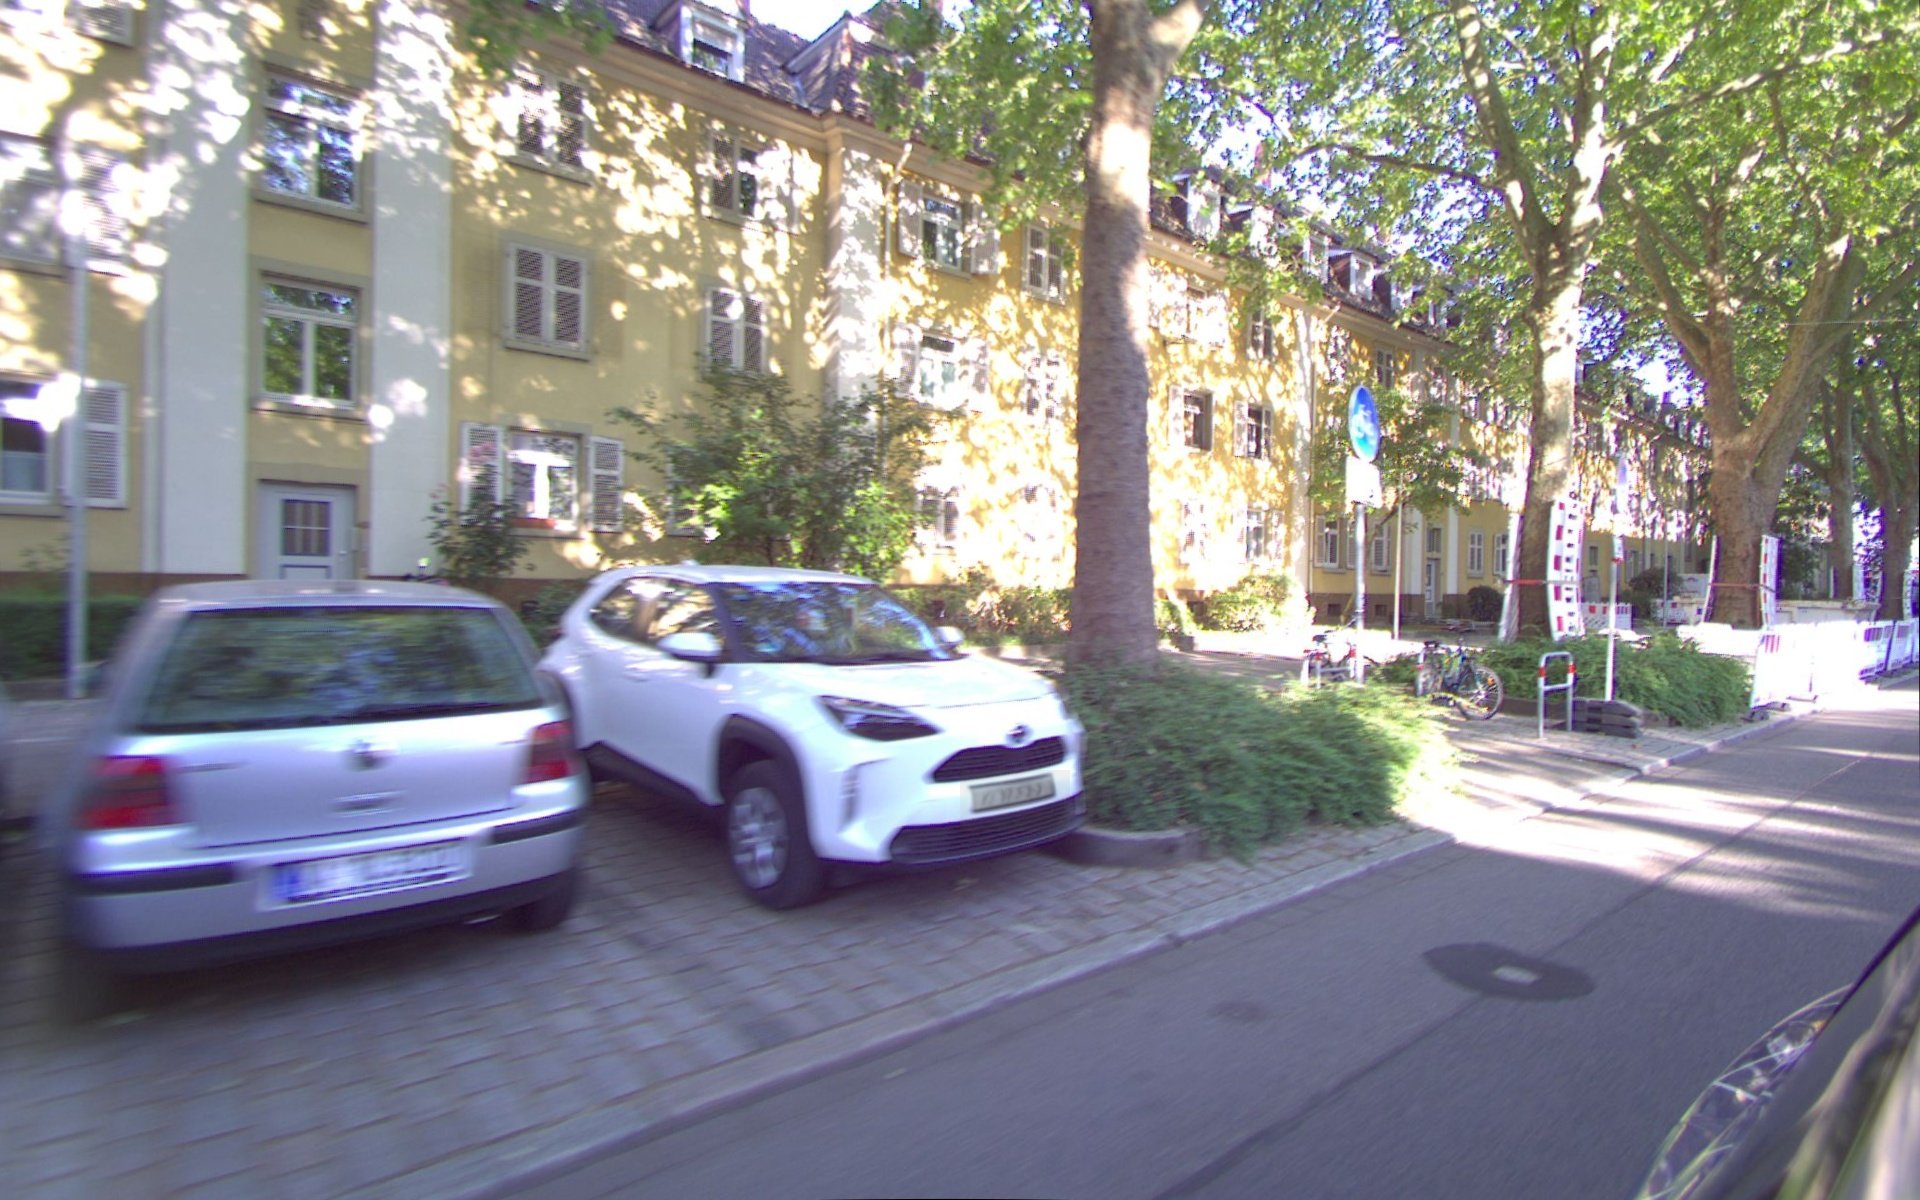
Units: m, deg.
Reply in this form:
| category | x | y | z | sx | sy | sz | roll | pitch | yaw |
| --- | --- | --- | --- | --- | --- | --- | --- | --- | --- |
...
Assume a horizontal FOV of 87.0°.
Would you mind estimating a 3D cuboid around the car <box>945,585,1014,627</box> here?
| category | x | y | z | sx | sy | sz | roll | pitch | yaw |
| --- | --- | --- | --- | --- | --- | --- | --- | --- | --- |
| car | 0.429 | 0.129 | 21.557 | 1.546 | 0.863 | 0.445 | 0 | -1 | -40 |

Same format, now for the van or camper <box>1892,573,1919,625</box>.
| category | x | y | z | sx | sy | sz | roll | pitch | yaw |
| --- | --- | --- | --- | --- | --- | --- | --- | --- | --- |
| van or camper | 51.537 | -0.023 | 51.370 | 2.229 | 2.661 | 5.942 | -1 | 2 | -38 |

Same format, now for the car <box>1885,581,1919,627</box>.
| category | x | y | z | sx | sy | sz | roll | pitch | yaw |
| --- | --- | --- | --- | --- | --- | --- | --- | --- | --- |
| car | 44.576 | 0.234 | 45.009 | 2.027 | 2.038 | 4.845 | 1 | 1 | -40 |

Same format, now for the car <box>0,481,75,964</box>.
| category | x | y | z | sx | sy | sz | roll | pitch | yaw |
| --- | --- | --- | --- | --- | --- | --- | --- | --- | --- |
| car | -4.486 | 0.453 | 3.432 | 1.881 | 1.794 | 3.856 | 0 | 1 | -36 |

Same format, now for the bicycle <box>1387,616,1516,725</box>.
| category | x | y | z | sx | sy | sz | roll | pitch | yaw |
| --- | --- | --- | --- | --- | --- | --- | --- | --- | --- |
| bicycle | 5.523 | 0.748 | 11.339 | 1.777 | 1.084 | 0.636 | 0 | 1 | -41 |

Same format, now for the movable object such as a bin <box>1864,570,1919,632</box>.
| category | x | y | z | sx | sy | sz | roll | pitch | yaw |
| --- | --- | --- | --- | --- | --- | --- | --- | --- | --- |
| movable object such as a bin | 36.813 | 0.040 | 38.730 | 3.210 | 2.297 | 1.488 | 1 | 0 | -7 |

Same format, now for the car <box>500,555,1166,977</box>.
| category | x | y | z | sx | sy | sz | roll | pitch | yaw |
| --- | --- | --- | --- | --- | --- | --- | --- | --- | --- |
| car | -1.038 | 0.542 | 5.859 | 1.883 | 1.540 | 4.095 | -1 | 2 | -41 |

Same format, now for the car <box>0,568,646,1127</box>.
| category | x | y | z | sx | sy | sz | roll | pitch | yaw |
| --- | --- | --- | --- | --- | --- | --- | --- | --- | --- |
| car | -2.991 | 0.594 | 4.646 | 1.817 | 1.450 | 3.856 | 0 | 1 | -36 |

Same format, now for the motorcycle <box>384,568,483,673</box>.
| category | x | y | z | sx | sy | sz | roll | pitch | yaw |
| --- | --- | --- | --- | --- | --- | --- | --- | --- | --- |
| motorcycle | -6.871 | 0.222 | 13.155 | 0.701 | 1.265 | 1.993 | 0 | 1 | -41 |

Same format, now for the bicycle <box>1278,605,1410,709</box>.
| category | x | y | z | sx | sy | sz | roll | pitch | yaw |
| --- | --- | --- | --- | --- | --- | --- | --- | --- | --- |
| bicycle | 4.796 | 0.665 | 12.573 | 1.914 | 1.169 | 0.692 | 0 | 1 | -41 |
